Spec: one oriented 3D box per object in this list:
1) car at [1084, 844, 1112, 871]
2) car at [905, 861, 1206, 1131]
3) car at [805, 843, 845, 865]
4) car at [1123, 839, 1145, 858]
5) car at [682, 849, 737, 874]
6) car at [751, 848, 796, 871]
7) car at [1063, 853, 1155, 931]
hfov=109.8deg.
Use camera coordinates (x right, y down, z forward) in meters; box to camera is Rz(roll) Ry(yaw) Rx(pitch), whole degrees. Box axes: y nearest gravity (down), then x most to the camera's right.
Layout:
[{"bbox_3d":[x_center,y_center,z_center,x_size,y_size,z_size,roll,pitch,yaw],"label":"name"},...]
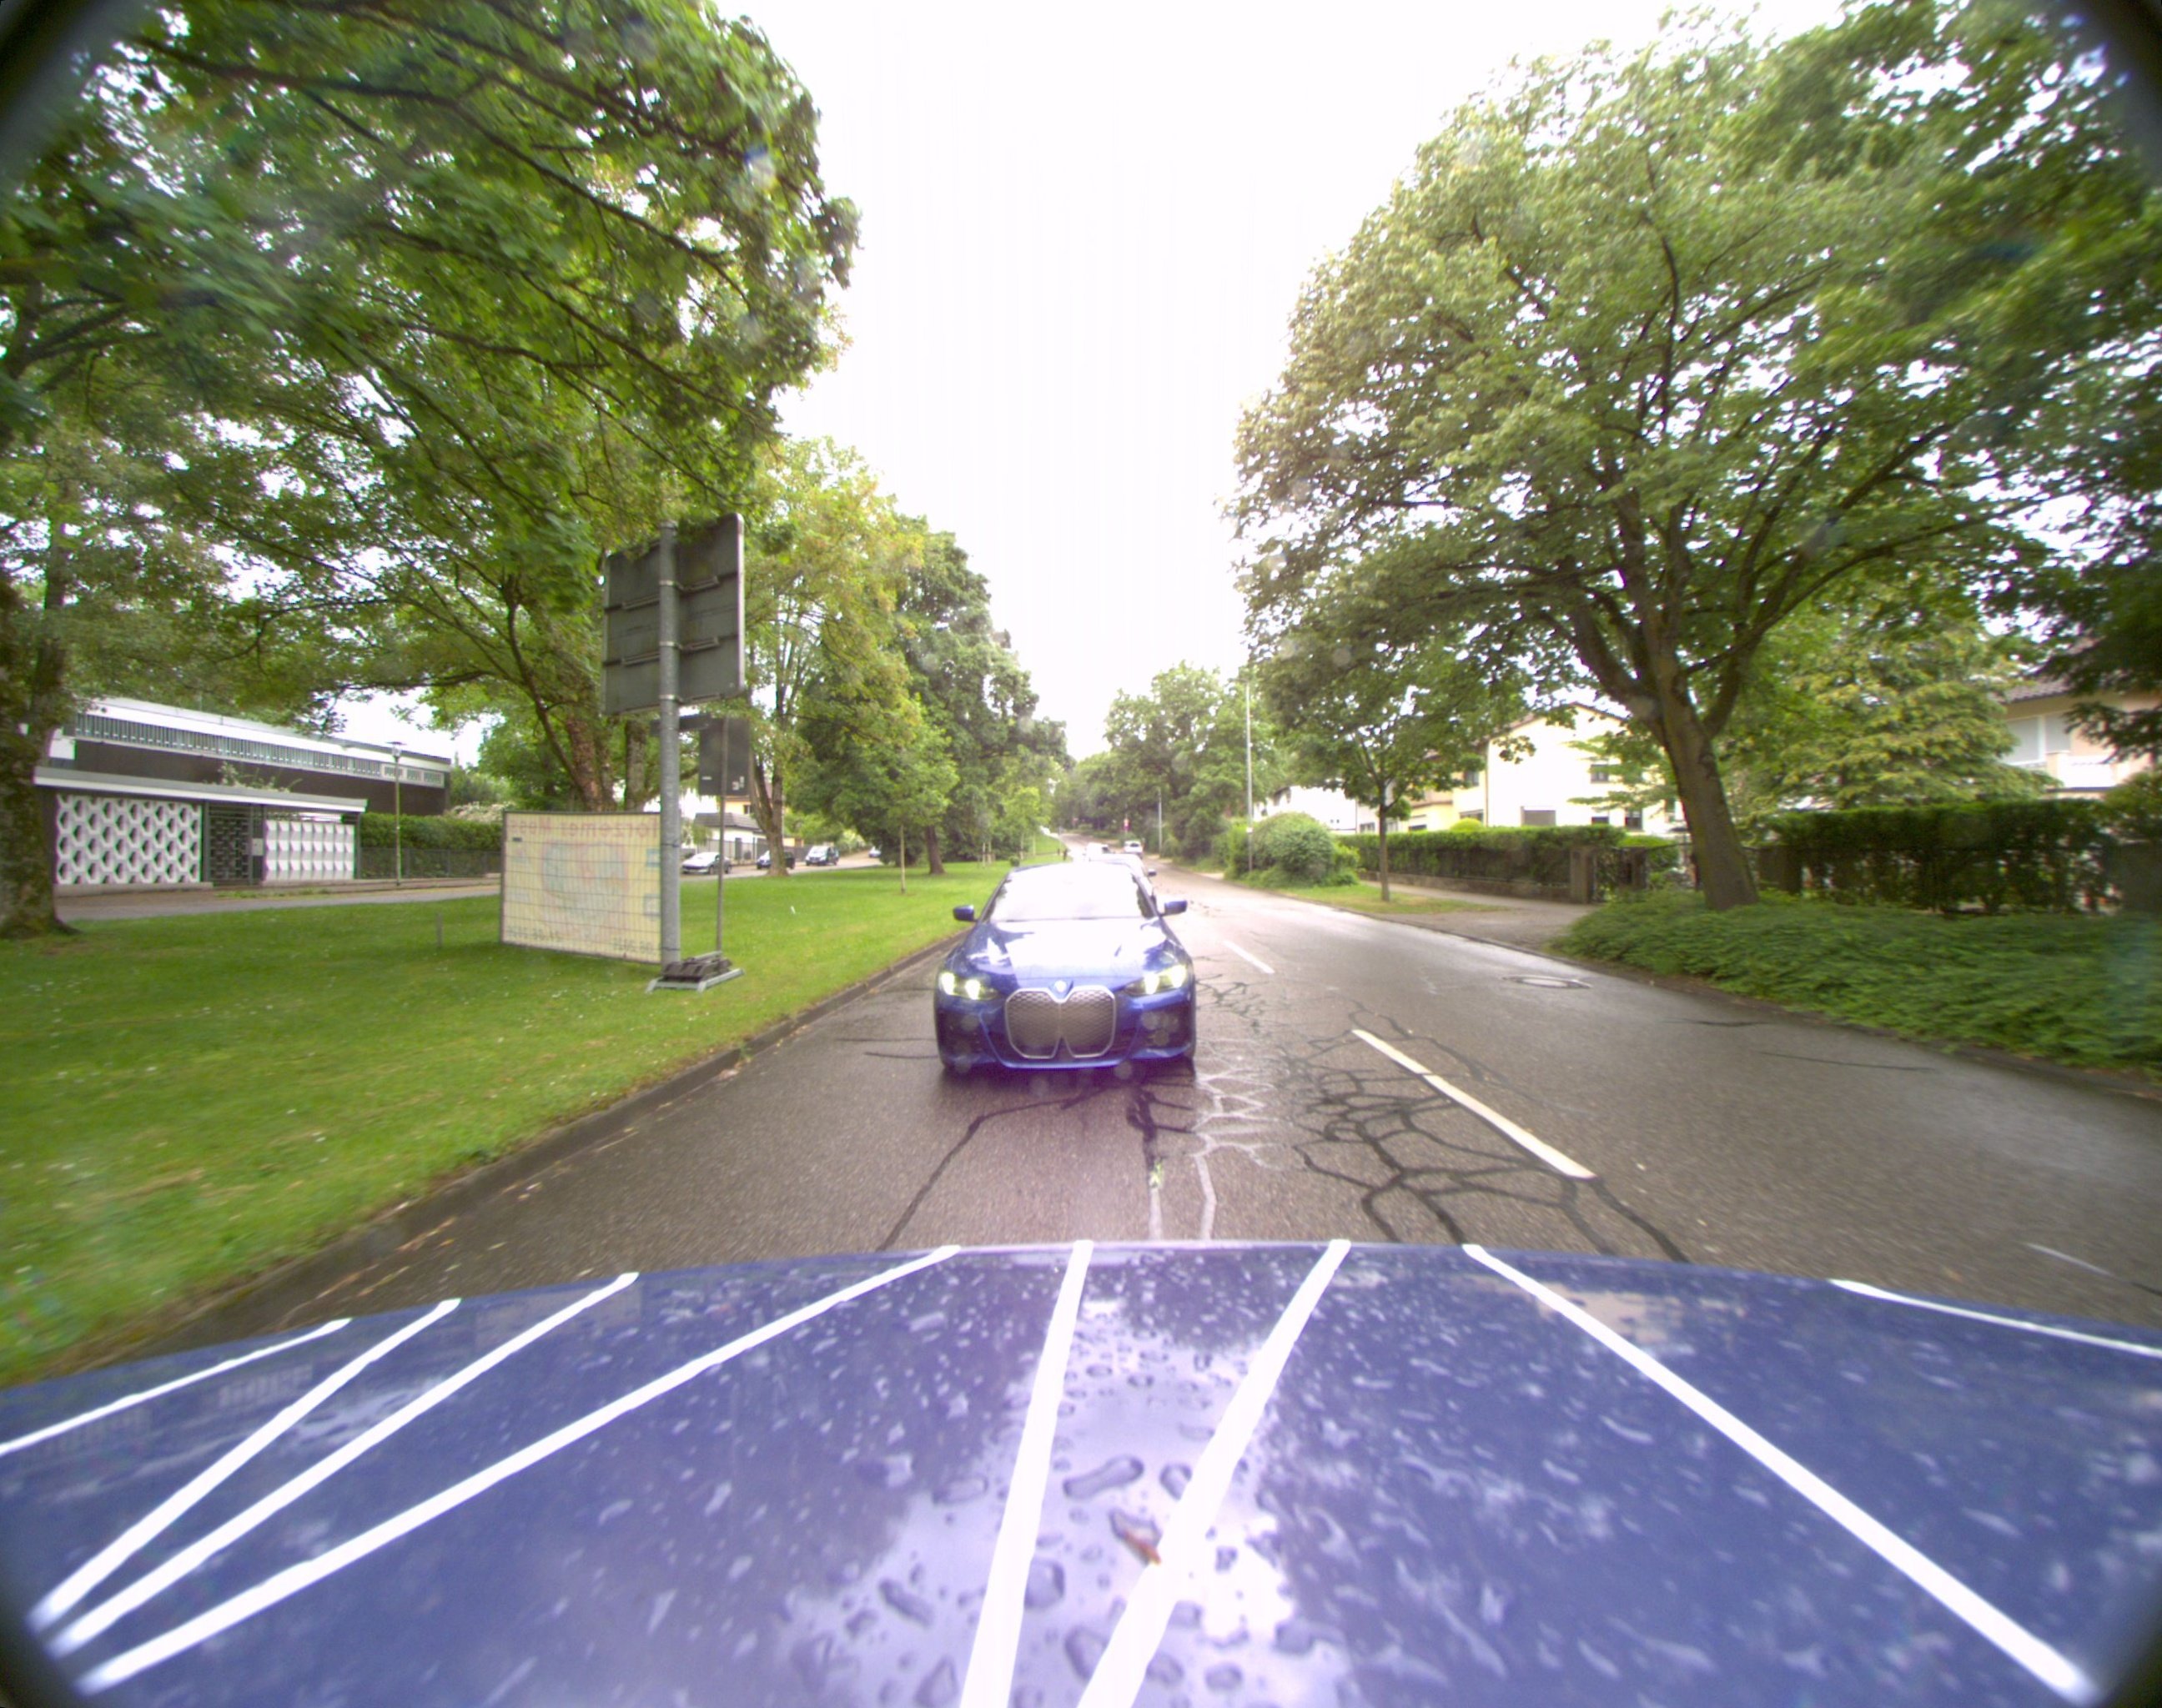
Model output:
[{"bbox_3d":[1.040,0.168,46.648,1.678,1.542,3.831,0,2,2],"label":"car"},{"bbox_3d":[-0.051,0.911,6.939,1.796,1.459,4.509,-3,1,3],"label":"car"},{"bbox_3d":[-24.156,-0.048,71.941,2.165,1.868,5.067,0,2,-2],"label":"car"},{"bbox_3d":[4.719,-0.503,67.975,1.768,1.605,4.140,0,1,0],"label":"car"},{"bbox_3d":[-23.184,0.436,47.495,1.685,1.368,3.708,1,1,-2],"label":"car"},{"bbox_3d":[-23.924,0.384,59.255,1.907,1.615,4.033,0,2,-2],"label":"car"},{"bbox_3d":[0.663,0.744,17.234,1.796,1.459,4.510,-1,1,3],"label":"car"}]
